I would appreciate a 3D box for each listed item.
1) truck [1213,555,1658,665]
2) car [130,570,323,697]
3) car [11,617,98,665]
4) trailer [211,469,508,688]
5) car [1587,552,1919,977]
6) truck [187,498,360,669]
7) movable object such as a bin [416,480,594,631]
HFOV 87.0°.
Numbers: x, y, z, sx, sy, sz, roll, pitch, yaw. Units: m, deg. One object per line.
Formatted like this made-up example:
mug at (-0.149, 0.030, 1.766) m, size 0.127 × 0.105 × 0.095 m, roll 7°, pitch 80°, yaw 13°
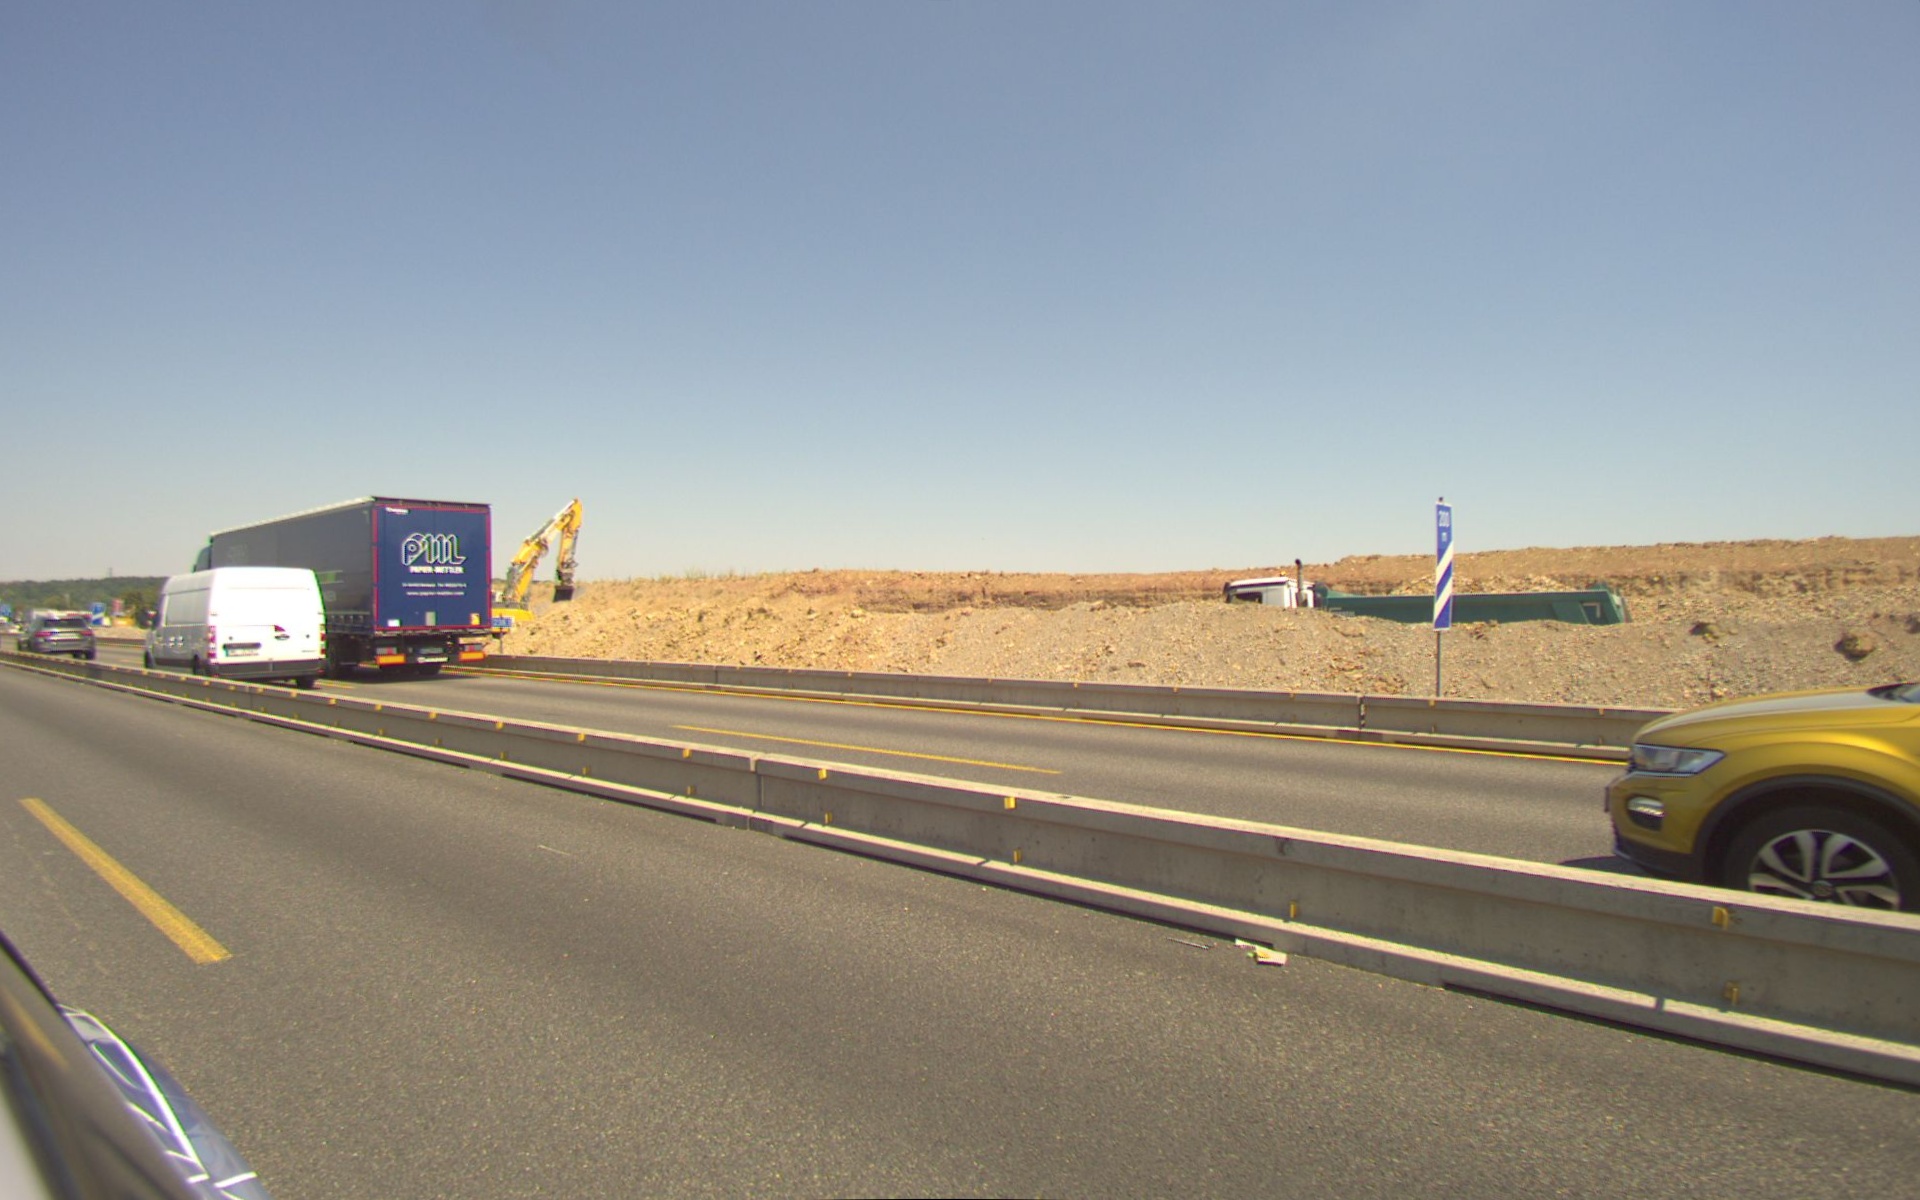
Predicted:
truck at (10.374, 0.218, 22.958) m, size 8.796 × 2.074 × 2.536 m, roll -1°, pitch 0°, yaw 40°
car at (-15.766, 0.693, 21.589) m, size 6.193 × 2.361 × 2.014 m, roll -2°, pitch -1°, yaw 41°
car at (-33.711, 1.480, 37.637) m, size 4.883 × 1.641 × 1.849 m, roll -1°, pitch 0°, yaw 41°
trailer at (-16.396, -0.409, 26.835) m, size 12.878 × 4.631 × 2.954 m, roll -1°, pitch 0°, yaw 42°
car at (4.986, 0.588, 3.667) m, size 4.361 × 1.586 × 1.743 m, roll -1°, pitch -1°, yaw 42°
truck at (-21.147, -0.438, 31.051) m, size 6.241 × 4.687 × 2.934 m, roll -1°, pitch 0°, yaw 41°
movable object such as a bin at (-23.251, -2.131, 52.004) m, size 4.079 × 7.167 × 7.284 m, roll -1°, pitch 0°, yaw 41°
